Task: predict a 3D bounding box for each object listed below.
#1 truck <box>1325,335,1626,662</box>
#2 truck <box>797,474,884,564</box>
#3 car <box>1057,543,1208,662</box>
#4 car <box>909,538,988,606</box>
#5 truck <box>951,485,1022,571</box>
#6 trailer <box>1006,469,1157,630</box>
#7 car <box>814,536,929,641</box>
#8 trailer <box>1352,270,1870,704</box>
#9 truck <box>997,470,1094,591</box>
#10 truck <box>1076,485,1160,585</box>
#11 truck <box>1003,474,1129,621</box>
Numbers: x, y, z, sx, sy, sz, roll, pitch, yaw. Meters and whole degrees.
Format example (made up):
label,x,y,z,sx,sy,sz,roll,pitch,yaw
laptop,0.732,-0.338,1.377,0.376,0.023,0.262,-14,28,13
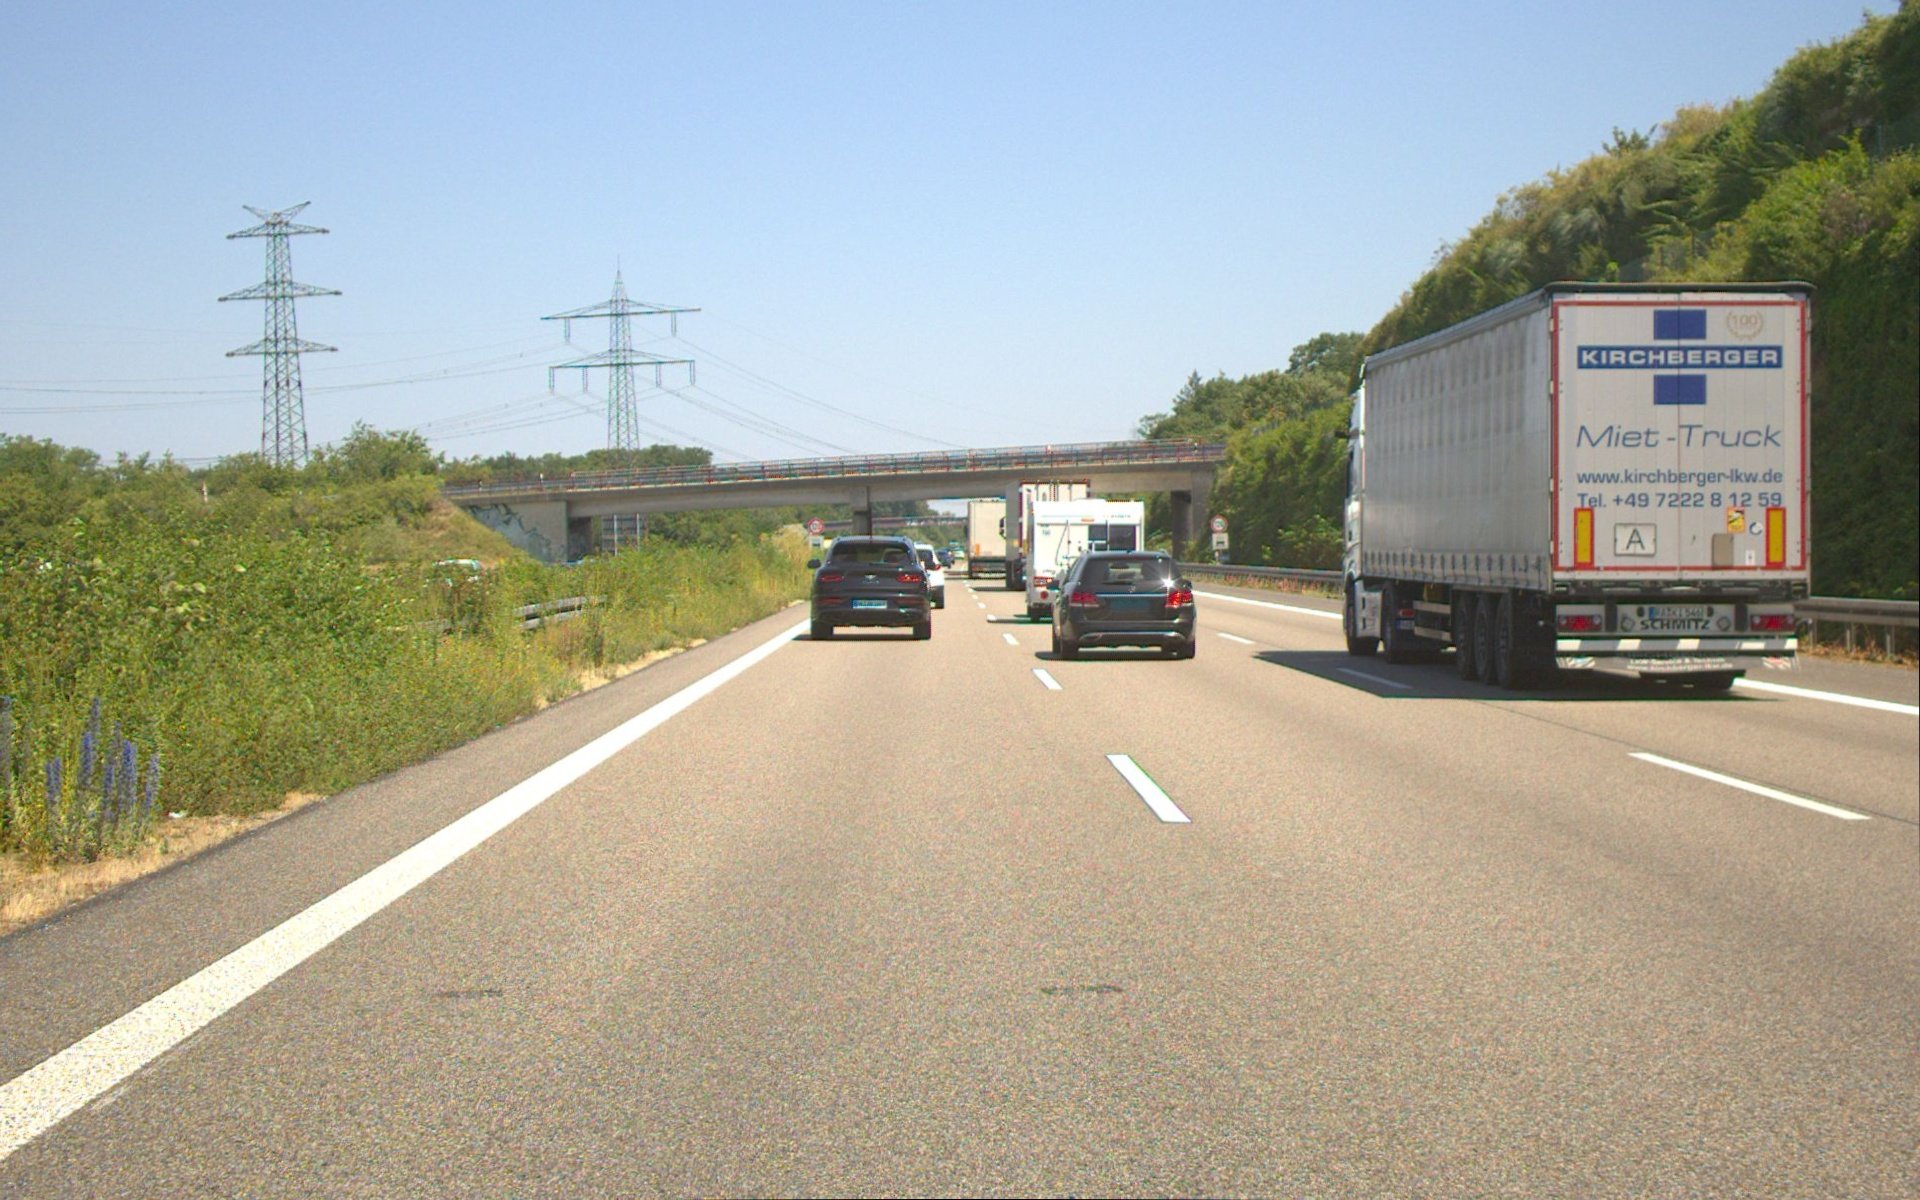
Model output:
label,x,y,z,sx,sy,sz,roll,pitch,yaw
truck,6.902,-1.347,46.811,3.135,4.127,5.504,-1,1,-1
truck,-5.689,-3.863,165.058,3.961,4.099,9.953,-1,1,-1
car,2.346,0.001,47.551,1.830,1.520,4.000,-1,1,0
car,-0.308,-0.747,88.598,1.829,1.665,4.001,-1,1,-3
truck,1.309,-3.703,178.126,3.409,4.265,10.608,-1,1,-1
trailer,2.519,-1.107,74.276,2.610,3.202,9.953,-1,1,-1
car,-1.483,-0.219,57.782,1.830,1.665,4.000,-1,1,-1
trailer,7.029,-1.202,39.763,3.183,4.107,13.432,-1,1,-1
truck,3.123,-2.600,128.950,3.119,4.265,11.934,-1,1,-1
truck,7.051,-2.918,154.917,3.119,4.265,10.168,-1,1,-1
truck,2.396,-1.208,79.075,2.593,3.230,4.698,-1,1,-1
